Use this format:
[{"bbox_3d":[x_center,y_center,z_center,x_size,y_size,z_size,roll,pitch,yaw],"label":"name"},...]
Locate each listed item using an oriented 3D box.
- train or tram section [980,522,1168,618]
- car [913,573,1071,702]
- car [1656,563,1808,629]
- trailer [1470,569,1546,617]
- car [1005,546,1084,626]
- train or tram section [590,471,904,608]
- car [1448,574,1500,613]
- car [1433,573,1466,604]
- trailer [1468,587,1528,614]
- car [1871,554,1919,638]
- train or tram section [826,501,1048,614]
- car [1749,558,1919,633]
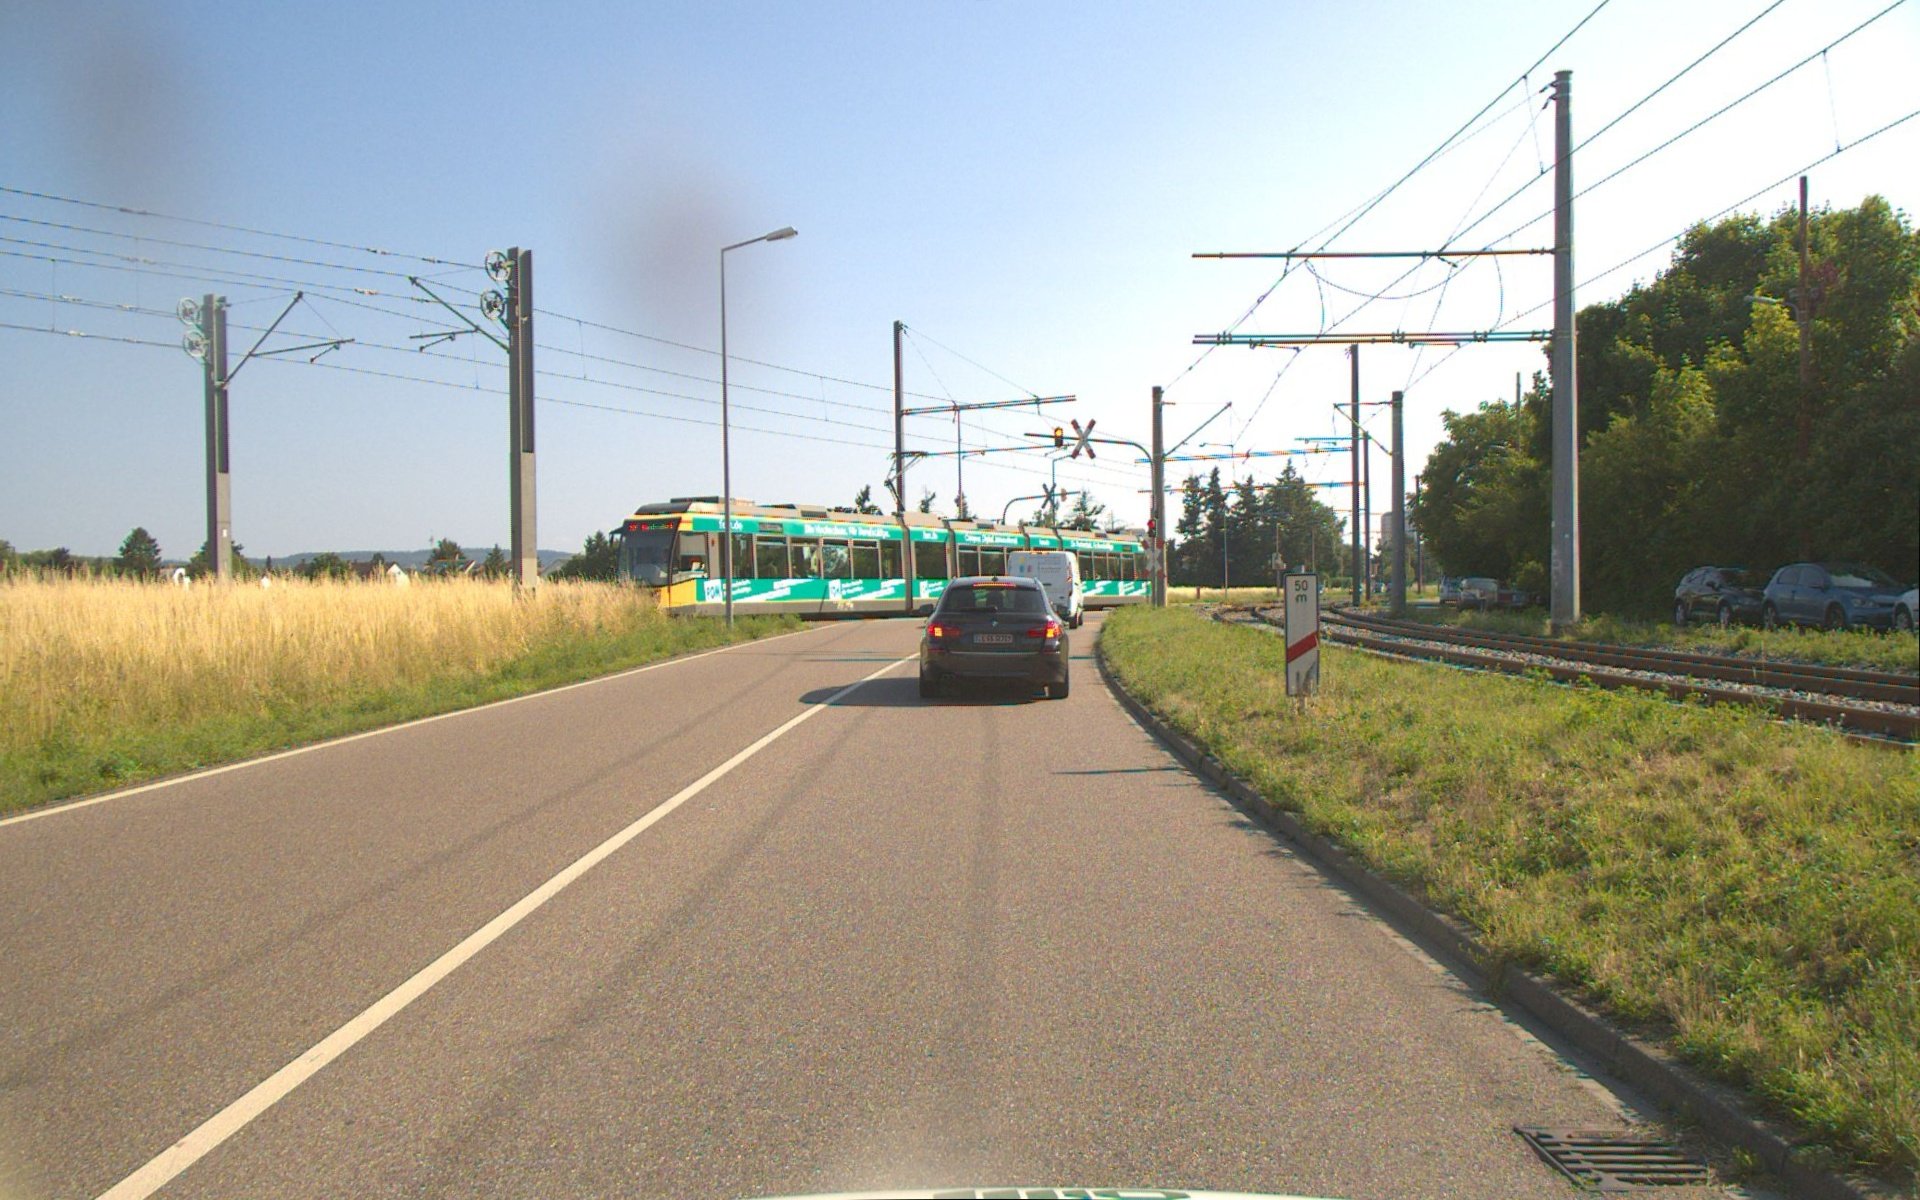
[{"bbox_3d":[5.307,-1.134,72.116,2.850,3.631,14.243,1,-1,27],"label":"train or tram section"},{"bbox_3d":[0.459,0.395,21.551,1.830,1.478,4.745,0,1,2],"label":"car"},{"bbox_3d":[18.011,-0.101,38.810,1.589,1.435,4.523,1,0,2],"label":"car"},{"bbox_3d":[19.791,-0.271,59.871,1.983,1.624,4.263,2,1,10],"label":"trailer"},{"bbox_3d":[2.337,-0.388,44.652,1.818,2.023,5.112,0,1,6],"label":"car"},{"bbox_3d":[-5.902,-1.575,49.359,2.893,3.545,12.150,1,0,27],"label":"train or tram section"},{"bbox_3d":[21.350,-0.297,68.819,1.662,1.482,4.885,2,1,13],"label":"car"},{"bbox_3d":[34.279,-0.806,115.740,1.952,2.039,5.069,2,1,19],"label":"car"},{"bbox_3d":[20.721,0.009,63.816,1.694,0.955,3.731,3,1,11],"label":"trailer"},{"bbox_3d":[17.844,-0.088,28.945,1.673,1.491,4.393,-1,1,5],"label":"car"},{"bbox_3d":[-0.519,-1.369,60.275,2.860,3.514,12.152,1,-1,26],"label":"train or tram section"},{"bbox_3d":[17.806,-0.106,33.681,1.454,1.425,4.150,-1,0,-1],"label":"car"}]
